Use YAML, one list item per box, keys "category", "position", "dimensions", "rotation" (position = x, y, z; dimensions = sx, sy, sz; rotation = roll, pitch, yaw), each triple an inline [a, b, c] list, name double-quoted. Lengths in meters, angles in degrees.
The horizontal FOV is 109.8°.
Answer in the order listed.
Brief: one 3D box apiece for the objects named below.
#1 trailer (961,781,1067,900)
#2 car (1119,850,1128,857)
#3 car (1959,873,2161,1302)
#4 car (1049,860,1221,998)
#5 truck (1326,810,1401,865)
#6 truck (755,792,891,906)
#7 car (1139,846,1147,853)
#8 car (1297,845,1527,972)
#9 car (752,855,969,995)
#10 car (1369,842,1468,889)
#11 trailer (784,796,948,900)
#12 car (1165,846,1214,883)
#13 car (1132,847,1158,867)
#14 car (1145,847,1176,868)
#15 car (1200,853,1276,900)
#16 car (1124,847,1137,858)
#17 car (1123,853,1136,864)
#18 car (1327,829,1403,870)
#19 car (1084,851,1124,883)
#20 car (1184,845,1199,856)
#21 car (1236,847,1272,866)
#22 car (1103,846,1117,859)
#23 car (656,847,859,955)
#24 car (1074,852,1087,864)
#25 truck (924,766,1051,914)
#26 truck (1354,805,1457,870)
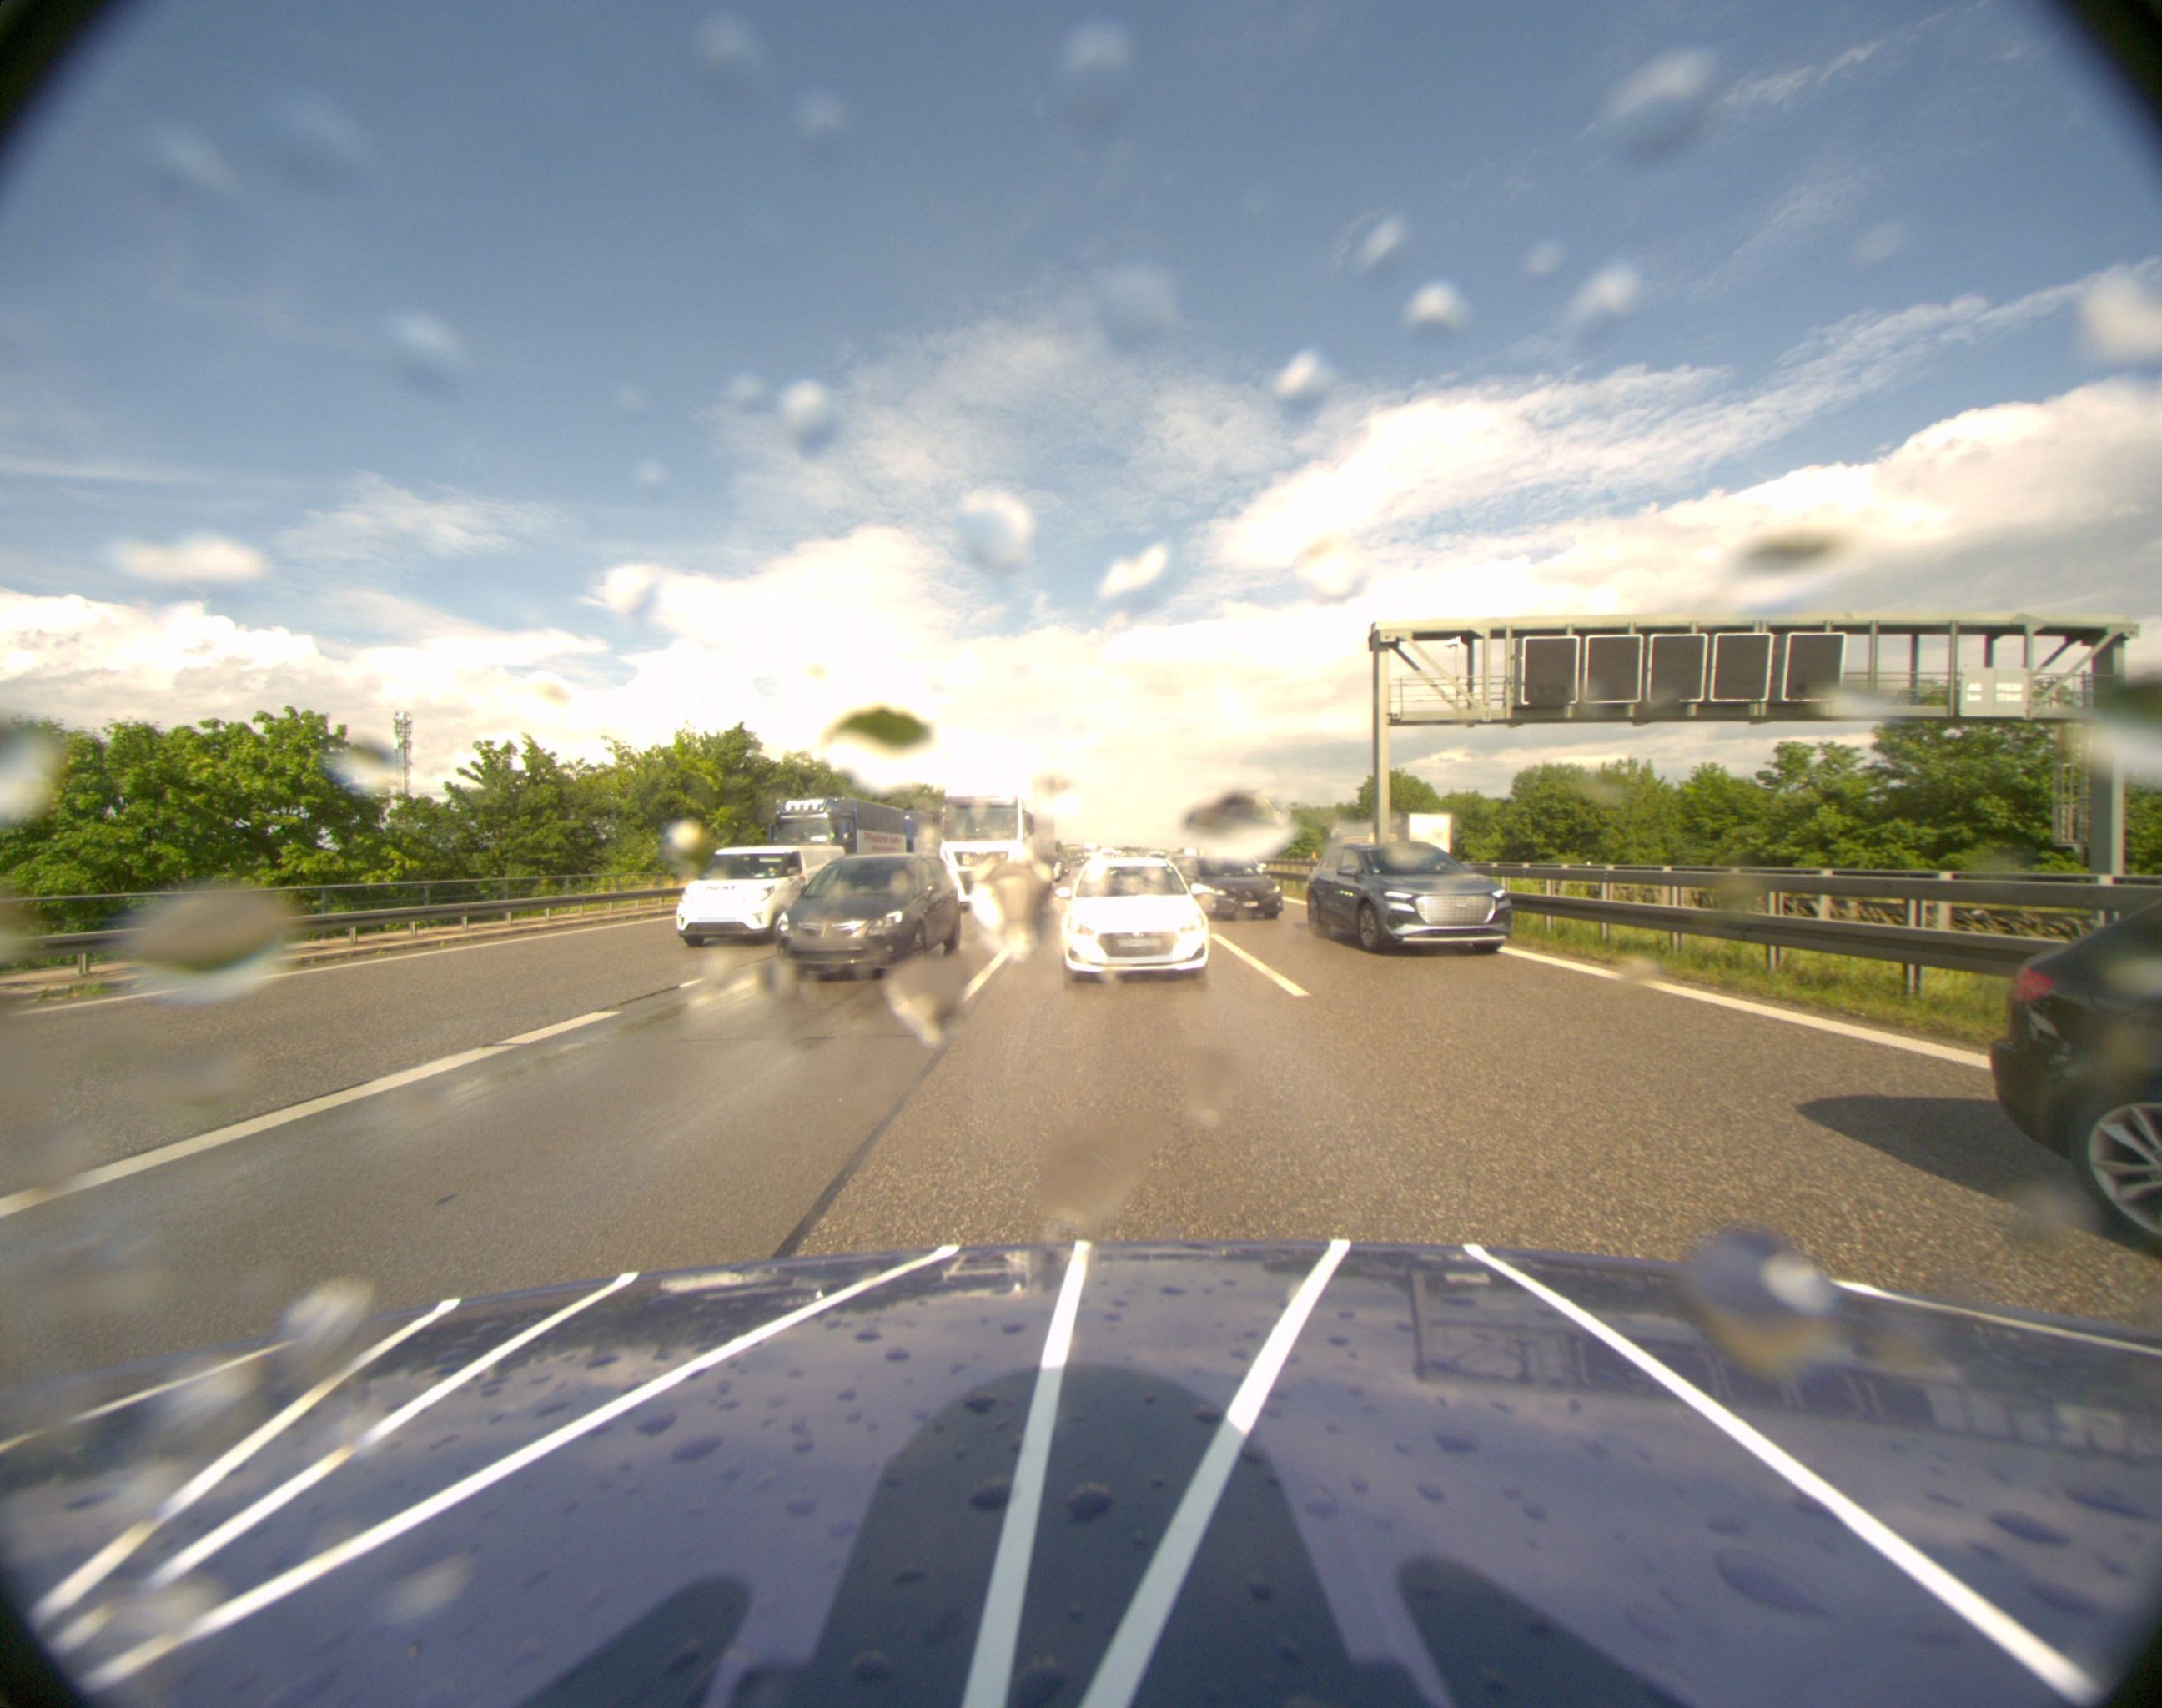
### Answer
- category: "trailer"
  position: [-2.441, -0.531, 32.331]
  dimensions: [2.790, 4.083, 11.539]
  rotation: [-2, 1, 3]
- category: "car"
  position: [11.393, -0.190, 204.127]
  dimensions: [1.998, 1.687, 3.999]
  rotation: [-3, 1, 1]
- category: "car"
  position: [4.502, 0.808, 1.090]
  dimensions: [1.771, 1.417, 4.138]
  rotation: [-2, 1, 2]
- category: "car"
  position: [0.645, 0.859, 10.784]
  dimensions: [1.886, 1.446, 4.548]
  rotation: [-1, 0, 1]
- category: "truck"
  position: [21.291, -1.254, 57.782]
  dimensions: [2.869, 3.799, 7.876]
  rotation: [-1, 1, 1]
- category: "truck"
  position: [-9.845, -0.231, 29.735]
  dimensions: [3.112, 3.932, 5.866]
  rotation: [-2, 1, 1]
- category: "car"
  position: [17.089, -1.257, 210.394]
  dimensions: [1.998, 1.768, 4.461]
  rotation: [-2, 0, 1]
- category: "car"
  position: [4.875, 0.694, 11.943]
  dimensions: [1.875, 1.597, 4.229]
  rotation: [-2, 1, 2]
- category: "car"
  position: [-3.004, 0.869, 11.436]
  dimensions: [1.883, 1.638, 4.396]
  rotation: [-1, 0, 1]
- category: "car"
  position: [12.576, 0.374, 28.606]
  dimensions: [1.998, 1.576, 3.999]
  rotation: [-2, 1, 1]
- category: "trailer"
  position: [-9.745, -0.360, 37.541]
  dimensions: [3.112, 3.931, 16.339]
  rotation: [-2, 1, 1]
- category: "car"
  position: [5.727, 0.490, 40.523]
  dimensions: [1.998, 1.739, 3.999]
  rotation: [-3, 1, 1]
- category: "car"
  position: [5.933, 0.223, 70.881]
  dimensions: [1.998, 1.687, 3.999]
  rotation: [-3, 1, 1]
- category: "car"
  position: [6.322, 0.282, 60.678]
  dimensions: [1.998, 1.471, 3.999]
  rotation: [-3, 1, 1]
- category: "car"
  position: [5.225, 0.701, 25.793]
  dimensions: [1.771, 1.371, 3.999]
  rotation: [-1, 1, 1]
- category: "car"
  position: [9.089, -0.293, 140.203]
  dimensions: [1.998, 1.687, 3.999]
  rotation: [-3, 1, 1]
- category: "car"
  position: [8.009, 0.737, 125.922]
  dimensions: [1.998, 1.687, 3.999]
  rotation: [-3, 1, 1]
- category: "car"
  position: [16.951, -0.239, 45.828]
  dimensions: [1.998, 2.195, 6.980]
  rotation: [-2, 0, 1]
- category: "car"
  position: [1.199, 0.660, 40.443]
  dimensions: [1.998, 1.477, 3.999]
  rotation: [-1, 1, 1]
- category: "car"
  position: [21.053, -0.631, 144.944]
  dimensions: [1.998, 2.002, 5.558]
  rotation: [-1, 0, 0]
- category: "car"
  position: [14.147, 0.169, 62.386]
  dimensions: [1.998, 1.452, 4.097]
  rotation: [-3, 1, 1]
- category: "car"
  position: [4.319, -0.267, 114.502]
  dimensions: [1.998, 1.687, 3.999]
  rotation: [-3, 1, 1]
- category: "car"
  position: [-6.471, 0.810, 16.029]
  dimensions: [1.955, 1.875, 5.167]
  rotation: [-1, 1, 1]
- category: "car"
  position: [-0.021, 0.597, 120.828]
  dimensions: [1.998, 1.687, 3.999]
  rotation: [-3, 1, 1]
- category: "truck"
  position: [-2.782, -0.418, 25.203]
  dimensions: [2.817, 4.083, 7.446]
  rotation: [-2, 1, 3]
- category: "truck"
  position: [21.198, -1.082, 50.381]
  dimensions: [2.855, 3.831, 9.420]
  rotation: [-1, 1, 1]
